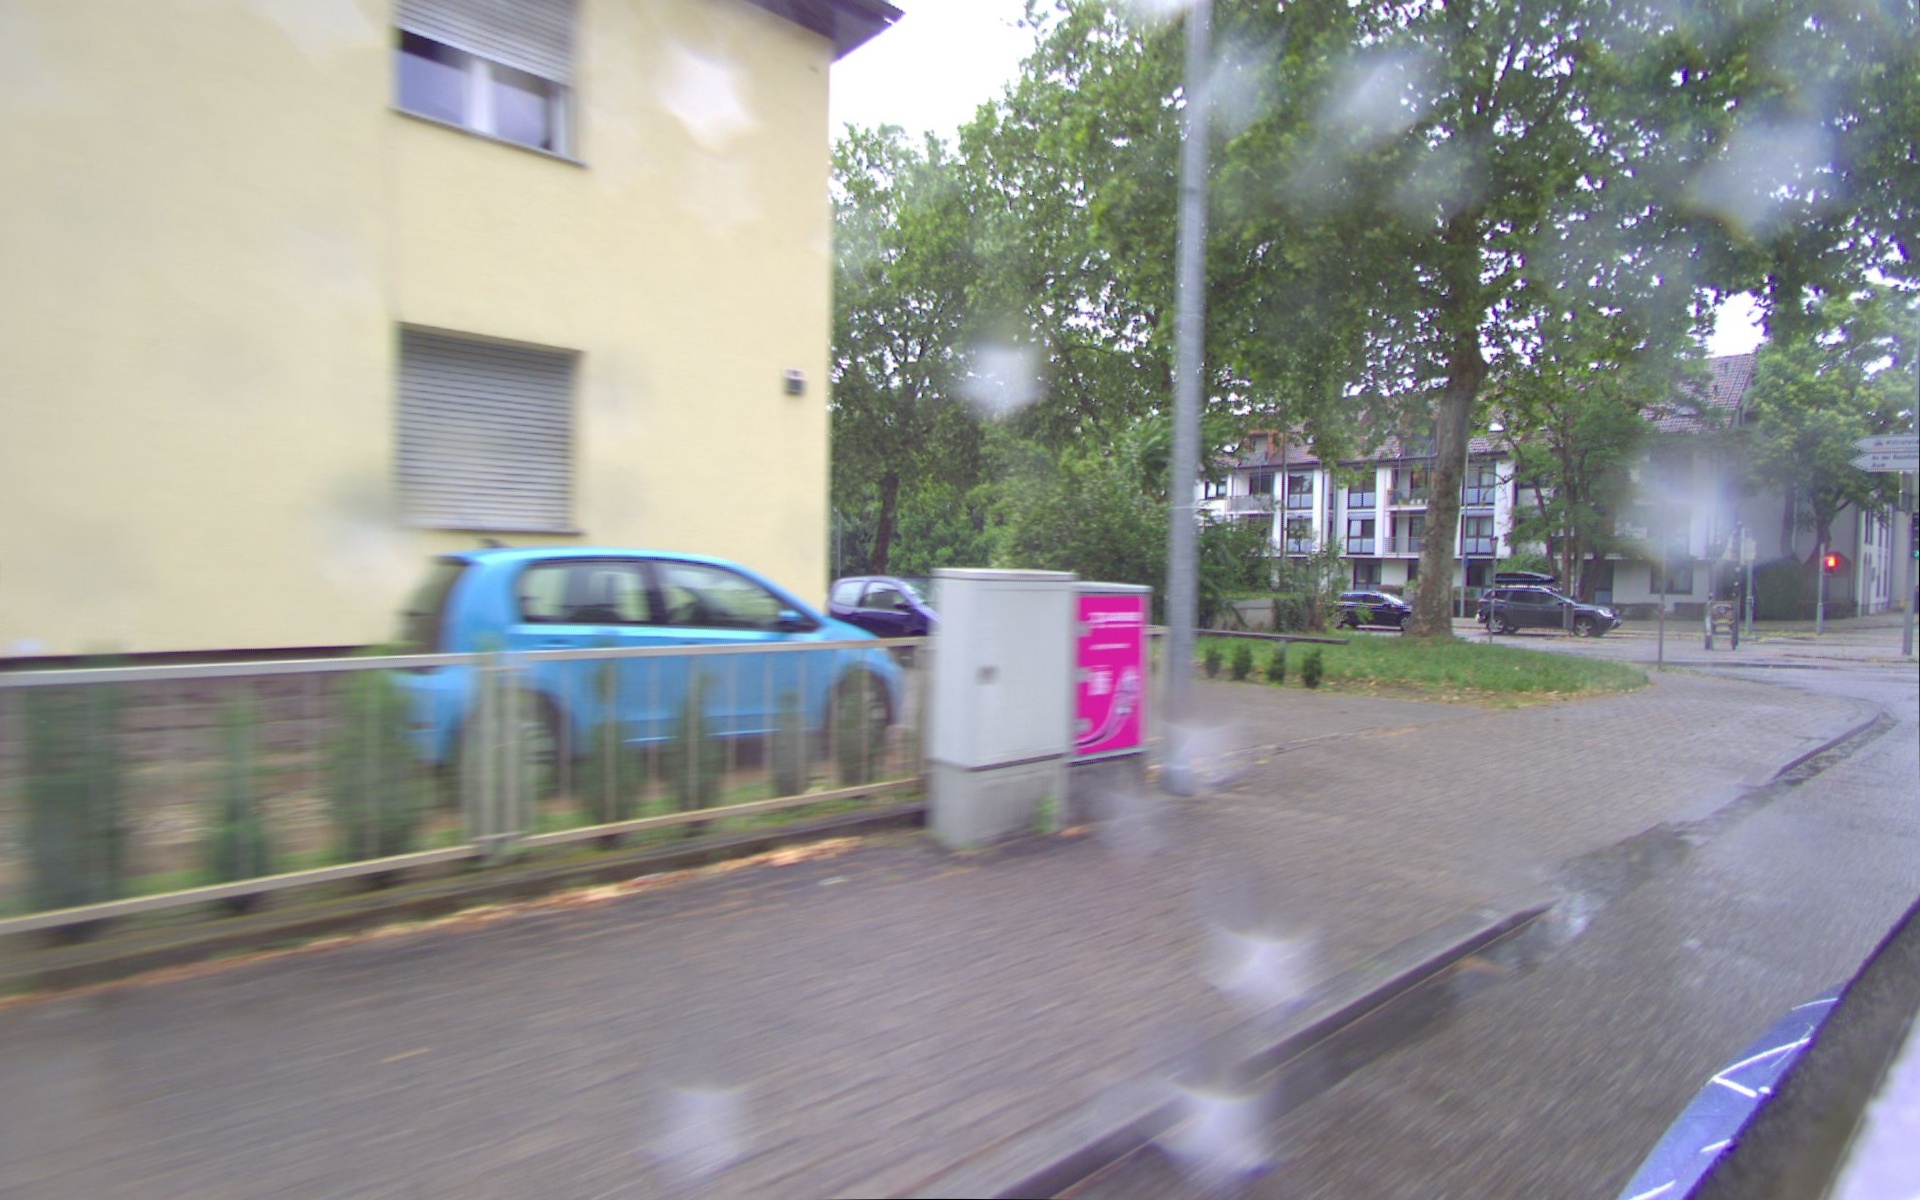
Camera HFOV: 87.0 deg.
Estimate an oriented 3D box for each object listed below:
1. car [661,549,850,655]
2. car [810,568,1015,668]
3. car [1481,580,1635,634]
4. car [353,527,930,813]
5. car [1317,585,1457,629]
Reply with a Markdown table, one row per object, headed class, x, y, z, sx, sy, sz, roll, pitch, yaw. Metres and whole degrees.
| class | x | y | z | sx | sy | sz | roll | pitch | yaw |
| --- | --- | --- | --- | --- | --- | --- | --- | --- | --- |
| car | -4.091 | -0.055 | 19.742 | 1.646 | 1.817 | 4.351 | 0 | 3 | -42 |
| car | -0.855 | 0.221 | 16.607 | 1.646 | 1.464 | 3.336 | -1 | 2 | -42 |
| car | 20.149 | 0.171 | 34.197 | 4.215 | 1.708 | 1.683 | 1 | 2 | 44 |
| car | -2.080 | 0.327 | 7.029 | 3.462 | 1.489 | 1.673 | -1 | 1 | -40 |
| car | 16.074 | 0.199 | 38.252 | 4.610 | 1.463 | 1.586 | 1 | 4 | 44 |
